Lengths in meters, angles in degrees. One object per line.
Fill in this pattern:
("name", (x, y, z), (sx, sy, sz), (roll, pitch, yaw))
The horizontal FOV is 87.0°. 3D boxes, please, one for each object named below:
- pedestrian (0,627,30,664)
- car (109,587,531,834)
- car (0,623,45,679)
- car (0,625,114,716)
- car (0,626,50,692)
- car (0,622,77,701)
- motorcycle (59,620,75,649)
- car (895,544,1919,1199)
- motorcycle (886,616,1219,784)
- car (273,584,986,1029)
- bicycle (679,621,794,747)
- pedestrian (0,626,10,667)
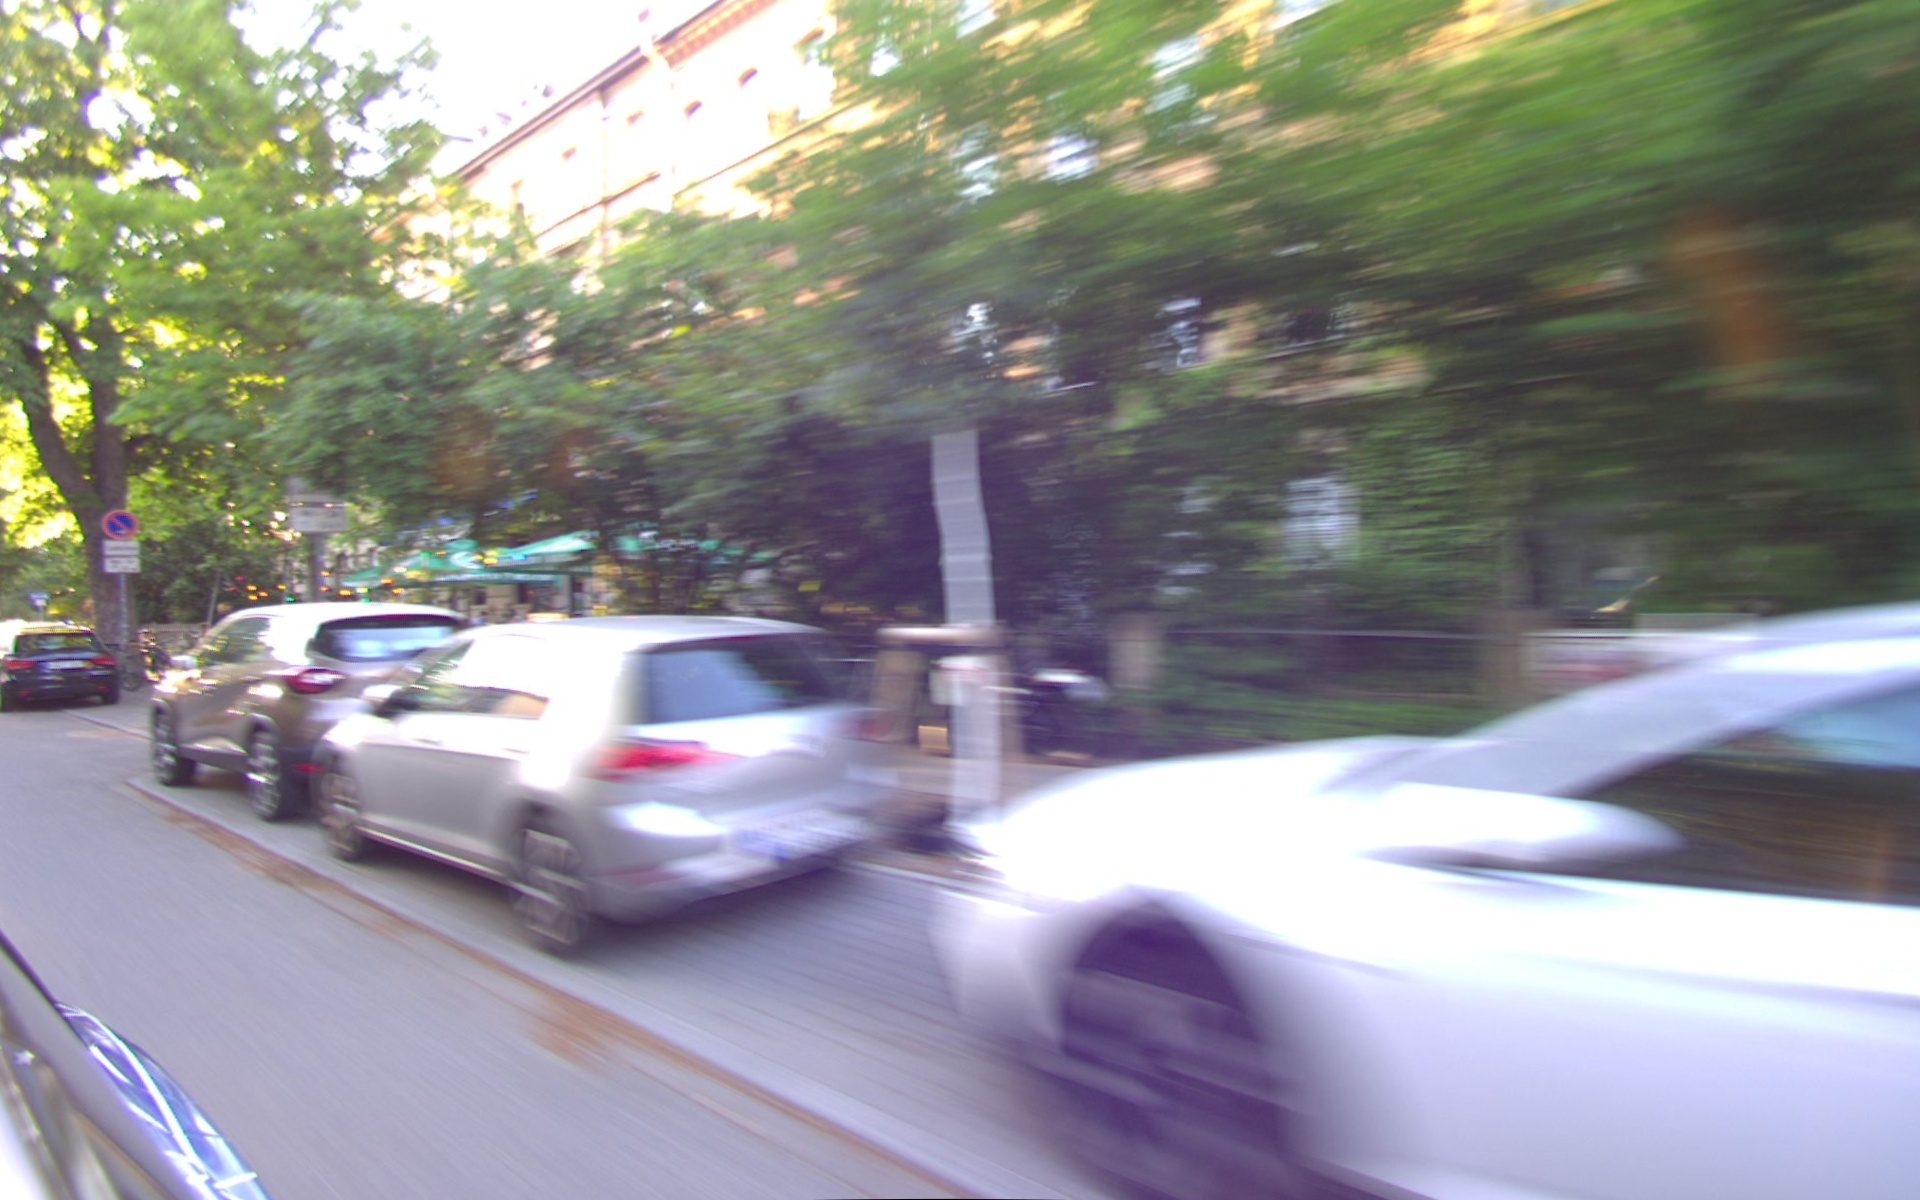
("pedestrian", (-42.340, 2.017, 45.248), (1.043, 1.643, 0.684), (-1, -2, 15))
("car", (-5.657, 0.793, 8.718), (4.397, 1.575, 1.674), (-2, 1, 39))
("car", (-27.318, 1.461, 28.127), (4.590, 1.422, 1.824), (-2, 1, 36))
("car", (-16.956, 1.248, 18.571), (3.690, 1.497, 1.536), (-2, -2, 39))
("car", (-23.287, 1.417, 24.374), (3.884, 1.446, 1.586), (-2, 1, 42))
("car", (-20.300, 1.304, 21.742), (3.693, 1.496, 1.535), (-2, 1, 42))
("motorcycle", (-37.802, 1.465, 42.839), (0.386, 1.194, 1.960), (-2, 0, -39))
("car", (2.181, 0.640, 1.939), (4.735, 1.513, 1.673), (-2, 1, 41))
("motorcycle", (0.646, 0.779, 8.362), (2.890, 1.165, 0.576), (-3, 0, 41))
("car", (-2.103, 0.742, 5.600), (4.399, 1.513, 1.672), (-1, 1, 41))
("bicycle", (-2.639, 0.907, 11.708), (0.597, 1.294, 2.493), (0, -2, -29))
("pedestrian", (-43.682, 2.086, 45.695), (1.000, 1.849, 0.684), (-1, -2, 15))
